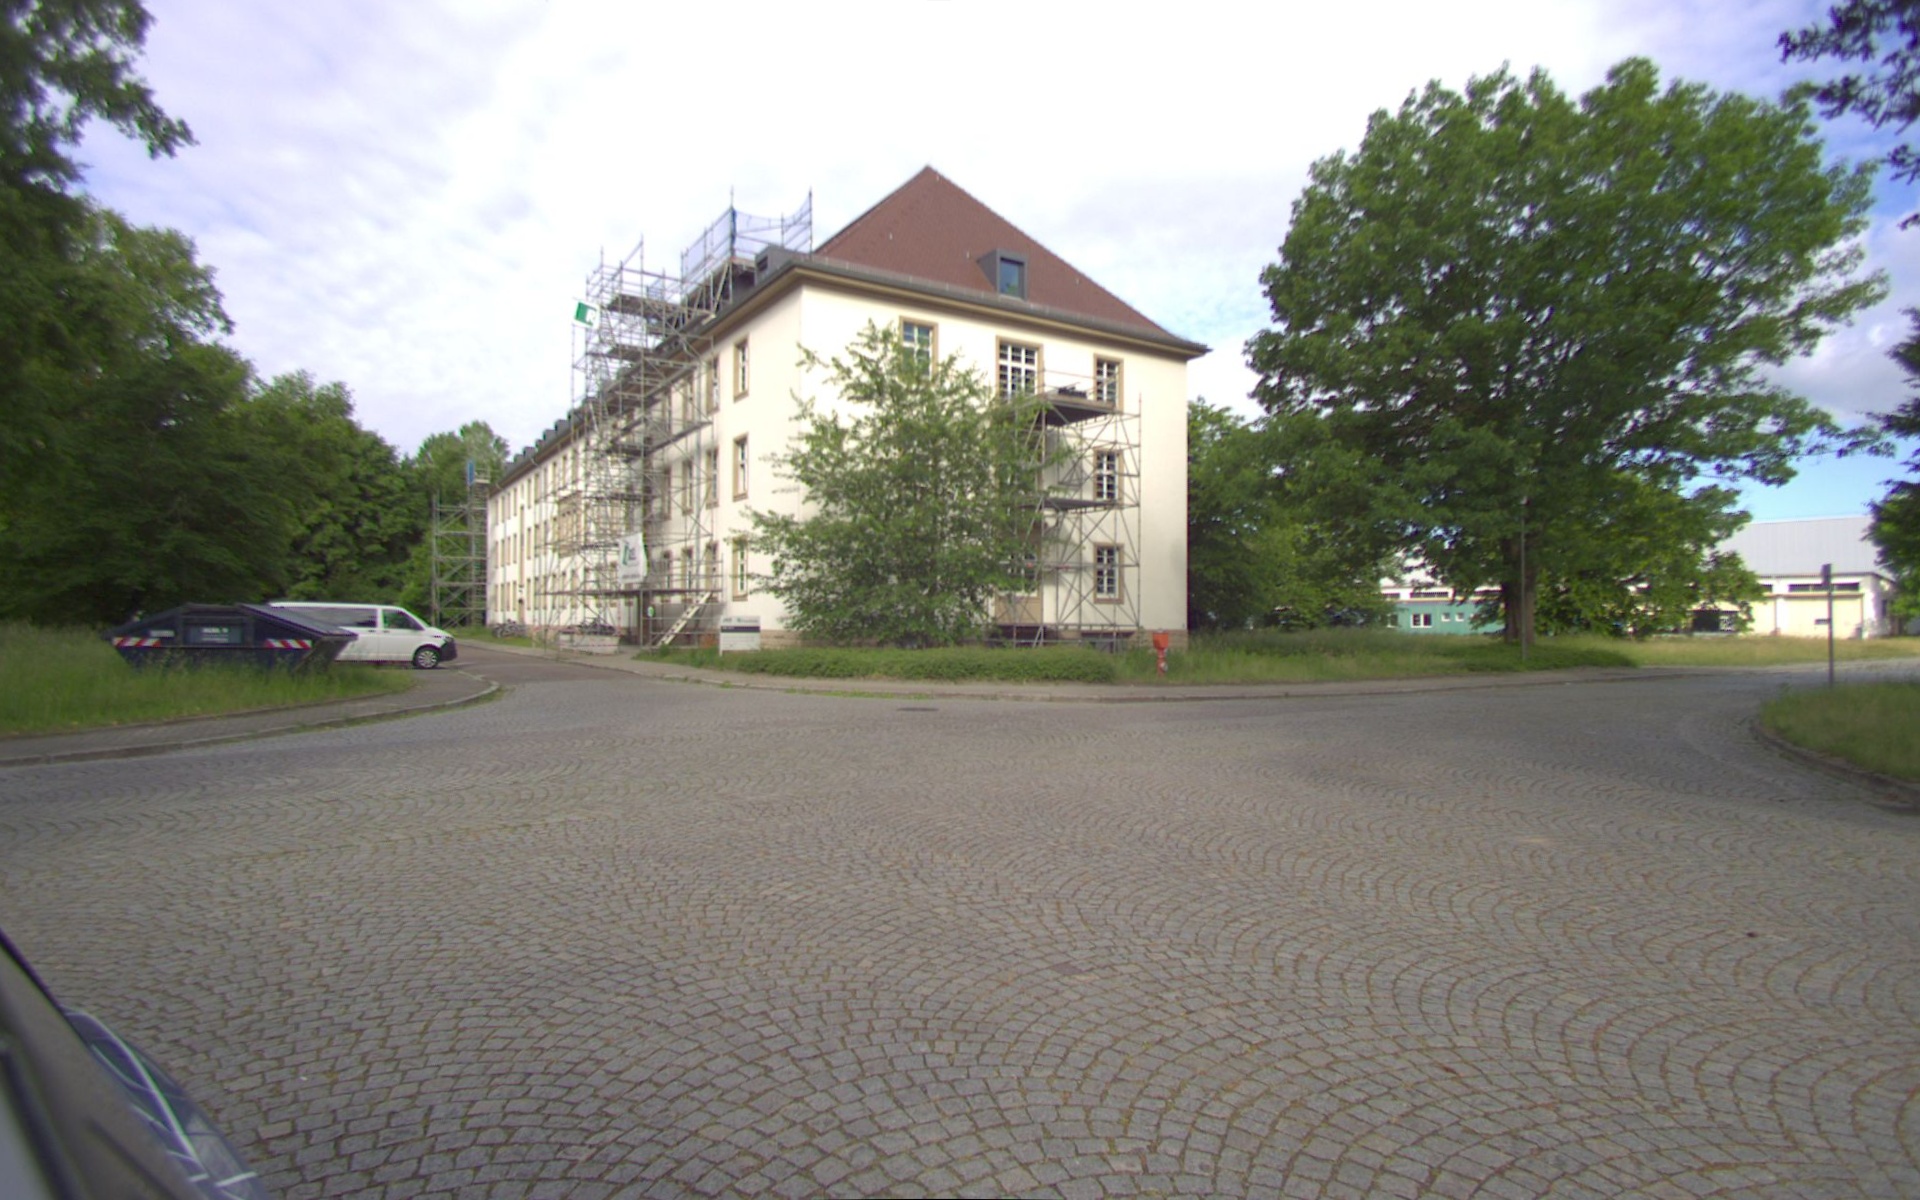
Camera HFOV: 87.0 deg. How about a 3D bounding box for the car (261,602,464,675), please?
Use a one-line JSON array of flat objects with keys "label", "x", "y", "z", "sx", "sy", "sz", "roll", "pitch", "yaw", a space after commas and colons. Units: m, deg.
[{"label": "car", "x": -18.200, "y": 1.213, "z": 30.964, "sx": 5.130, "sy": 2.076, "sz": 2.194, "roll": 2, "pitch": -3, "yaw": -33}]
